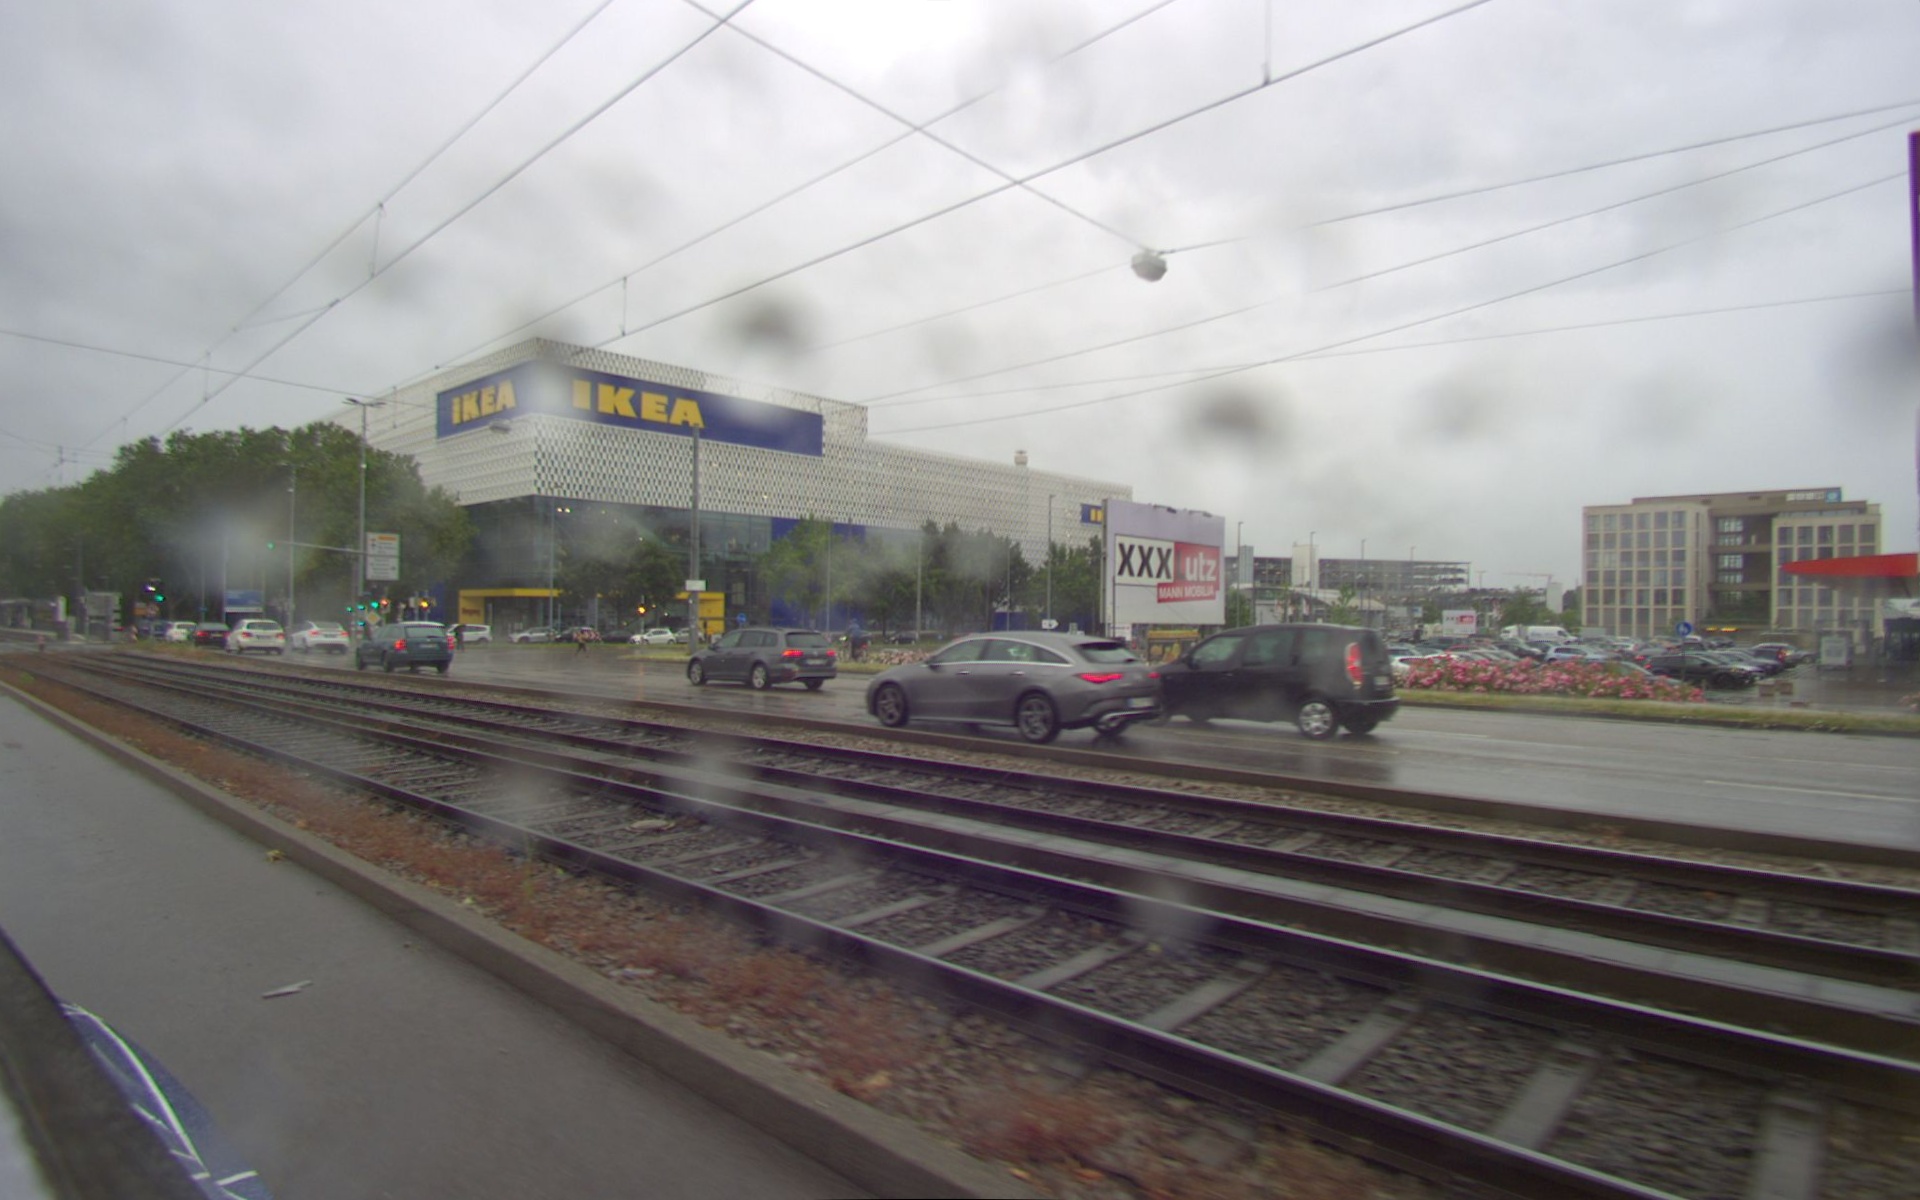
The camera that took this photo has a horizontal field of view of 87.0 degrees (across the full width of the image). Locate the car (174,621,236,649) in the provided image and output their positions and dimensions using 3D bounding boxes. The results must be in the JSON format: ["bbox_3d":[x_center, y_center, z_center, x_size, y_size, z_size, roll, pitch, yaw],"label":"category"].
[{"bbox_3d":[-42.564,2.002,56.997,5.084,1.434,1.901,-2,-6,44],"label":"car"}]

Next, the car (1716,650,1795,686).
[{"bbox_3d":[51.711,4.392,65.805,3.996,2.029,1.974,0,1,39],"label":"car"}]

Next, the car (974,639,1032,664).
[{"bbox_3d":[3.126,3.776,74.128,3.997,1.616,1.782,-1,1,40],"label":"car"}]

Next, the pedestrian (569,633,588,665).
[{"bbox_3d":[-22.662,2.904,60.075,0.767,1.831,0.707,0,0,35],"label":"pedestrian"}]

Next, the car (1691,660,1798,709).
[{"bbox_3d":[37.916,4.025,48.957,3.997,2.029,1.973,0,1,40],"label":"car"}]

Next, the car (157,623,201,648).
[{"bbox_3d":[-50.827,2.297,65.828,4.049,1.547,1.693,-2,-1,44],"label":"car"}]

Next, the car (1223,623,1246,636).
[{"bbox_3d":[46.731,4.989,172.240,2.001,2.029,3.943,0,1,44],"label":"car"}]

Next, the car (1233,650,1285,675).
[{"bbox_3d":[20.771,4.330,70.374,3.166,1.535,1.552,0,1,39],"label":"car"}]

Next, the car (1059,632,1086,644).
[{"bbox_3d":[15.063,5.050,134.993,1.603,1.417,3.769,0,1,45],"label":"car"}]

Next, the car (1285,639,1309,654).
[{"bbox_3d":[51.944,7.100,155.807,2.001,2.029,3.943,0,1,44],"label":"car"}]

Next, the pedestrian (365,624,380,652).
[{"bbox_3d":[-43.316,2.818,74.607,0.772,2.029,0.859,-1,1,-40],"label":"pedestrian"}]

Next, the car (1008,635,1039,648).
[{"bbox_3d":[8.083,5.204,128.390,1.710,1.417,4.106,0,1,45],"label":"car"}]

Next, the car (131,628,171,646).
[{"bbox_3d":[-59.709,2.729,74.628,4.462,1.259,1.693,-2,-1,43],"label":"car"}]

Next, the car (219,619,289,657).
[{"bbox_3d":[-32.813,1.760,46.971,4.329,1.585,1.852,-2,-1,44],"label":"car"}]

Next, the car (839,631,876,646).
[{"bbox_3d":[-10.841,4.059,107.226,1.603,1.417,3.769,0,1,45],"label":"car"}]

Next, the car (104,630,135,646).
[{"bbox_3d":[-73.440,3.347,88.424,4.049,1.259,1.693,-2,-1,44],"label":"car"}]

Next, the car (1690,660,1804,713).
[{"bbox_3d":[35.603,3.876,45.842,3.997,2.029,1.974,-1,1,40],"label":"car"}]

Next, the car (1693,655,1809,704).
[{"bbox_3d":[27.381,2.716,35.083,3.111,1.453,1.458,-1,1,40],"label":"car"}]

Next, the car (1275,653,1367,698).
[{"bbox_3d":[18.617,3.841,52.269,3.997,2.029,1.974,-1,1,40],"label":"car"}]

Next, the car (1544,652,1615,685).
[{"bbox_3d":[43.105,4.711,70.397,3.996,2.029,1.974,0,1,39],"label":"car"}]

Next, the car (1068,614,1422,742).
[{"bbox_3d":[4.167,1.072,15.423,4.909,1.630,1.837,0,-3,44],"label":"car"}]

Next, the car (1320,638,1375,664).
[{"bbox_3d":[31.813,4.148,83.093,3.900,1.919,1.800,0,1,38],"label":"car"}]

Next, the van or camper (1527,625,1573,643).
[{"bbox_3d":[76.114,4.352,130.604,4.984,2.129,1.764,0,1,37],"label":"van or camper"}]

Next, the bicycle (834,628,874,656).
[{"bbox_3d":[-4.134,1.601,39.269,1.556,1.023,0.661,-1,1,42],"label":"bicycle"}]

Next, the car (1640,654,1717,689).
[{"bbox_3d":[47.068,4.643,66.357,3.996,2.029,1.974,0,1,39],"label":"car"}]

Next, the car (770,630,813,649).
[{"bbox_3d":[-16.873,3.896,101.359,1.683,1.686,3.956,0,1,45],"label":"car"}]

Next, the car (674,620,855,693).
[{"bbox_3d":[-4.766,1.300,24.306,4.554,1.528,1.942,0,-3,43],"label":"car"}]

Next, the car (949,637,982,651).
[{"bbox_3d":[0.654,5.255,120.093,1.603,1.417,3.928,0,1,45],"label":"car"}]

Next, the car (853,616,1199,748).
[{"bbox_3d":[0.767,1.008,14.088,4.689,1.505,1.838,0,-2,42],"label":"car"}]

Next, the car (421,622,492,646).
[{"bbox_3d":[-37.408,2.508,75.230,1.820,1.552,4.399,-2,-1,44],"label":"car"}]

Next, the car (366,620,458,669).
[{"bbox_3d":[-22.492,1.750,41.443,4.694,1.848,1.971,0,-1,44],"label":"car"}]

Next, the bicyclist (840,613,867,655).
[{"bbox_3d":[-4.139,1.305,39.261,0.792,1.601,0.664,-1,1,43],"label":"bicyclist"}]

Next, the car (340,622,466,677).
[{"bbox_3d":[-17.066,1.476,30.905,4.672,1.468,1.972,0,-3,43],"label":"car"}]

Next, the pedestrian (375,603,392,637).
[{"bbox_3d":[-39.327,1.369,69.056,0.906,2.261,0.992,-2,3,-34],"label":"pedestrian"}]

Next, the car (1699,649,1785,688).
[{"bbox_3d":[46.652,4.071,60.381,3.996,2.029,1.974,0,1,39],"label":"car"}]

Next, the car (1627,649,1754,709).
[{"bbox_3d":[19.724,2.099,27.364,2.691,1.386,1.249,-1,1,40],"label":"car"}]

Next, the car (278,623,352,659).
[{"bbox_3d":[-32.863,2.060,51.502,4.840,1.618,1.888,-2,1,42],"label":"car"}]

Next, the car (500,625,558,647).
[{"bbox_3d":[-35.094,2.923,82.520,1.760,1.630,3.960,0,1,44],"label":"car"}]

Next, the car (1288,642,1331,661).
[{"bbox_3d":[30.440,4.470,88.207,3.166,1.535,1.552,0,1,39],"label":"car"}]

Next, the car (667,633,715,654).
[{"bbox_3d":[-24.687,3.970,92.963,1.760,1.630,3.960,0,1,44],"label":"car"}]

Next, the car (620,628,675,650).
[{"bbox_3d":[-26.630,3.282,86.290,2.000,1.615,4.051,0,1,43],"label":"car"}]

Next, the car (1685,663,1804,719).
[{"bbox_3d":[34.222,3.919,44.213,3.997,2.029,1.974,-1,1,40],"label":"car"}]

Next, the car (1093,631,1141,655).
[{"bbox_3d":[14.702,3.995,94.916,3.996,2.029,1.974,0,1,39],"label":"car"}]
